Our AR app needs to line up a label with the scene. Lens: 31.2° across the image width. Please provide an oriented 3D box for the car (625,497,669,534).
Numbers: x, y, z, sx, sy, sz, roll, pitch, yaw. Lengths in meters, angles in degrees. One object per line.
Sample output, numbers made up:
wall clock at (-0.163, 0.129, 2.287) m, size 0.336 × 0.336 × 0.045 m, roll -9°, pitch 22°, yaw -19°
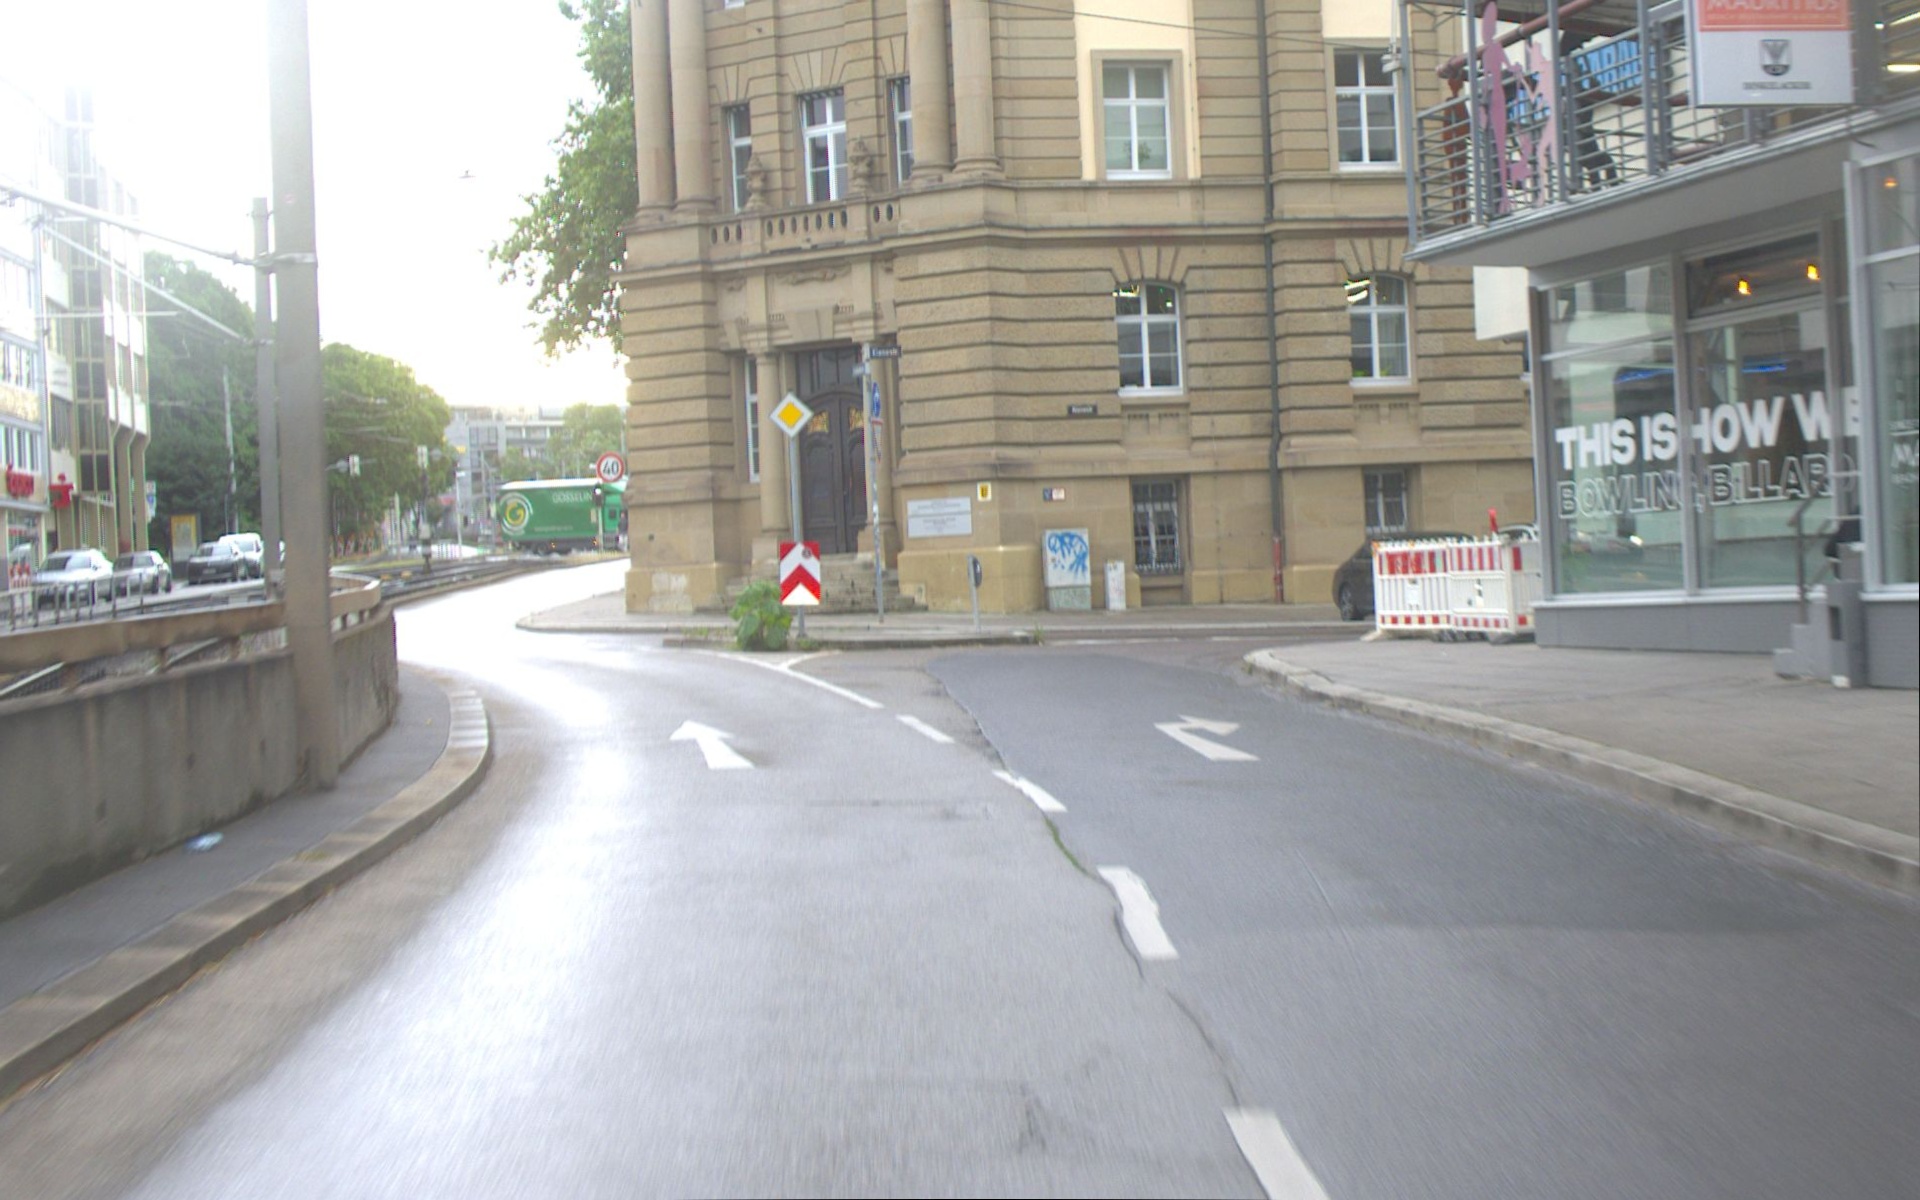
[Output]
car at (-14.473, -3.898, 158.998) m, size 1.993 × 1.656 × 4.001 m, roll -2°, pitch 1°, yaw -5°

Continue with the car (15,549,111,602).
car at (-26.268, -0.737, 100.816) m, size 1.993 × 1.451 × 4.312 m, roll -2°, pitch 1°, yaw -5°

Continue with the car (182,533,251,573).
car at (-28.063, -1.791, 129.808) m, size 1.993 × 1.451 × 4.312 m, roll -2°, pitch 1°, yaw -5°

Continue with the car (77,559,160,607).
car at (-27.668, -0.567, 113.196) m, size 1.993 × 1.451 × 4.312 m, roll -2°, pitch 1°, yaw -5°

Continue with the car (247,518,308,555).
car at (-28.266, -2.644, 142.398) m, size 1.993 × 1.451 × 4.312 m, roll -2°, pitch 1°, yaw -5°

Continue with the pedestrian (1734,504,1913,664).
pedestrian at (6.302, -0.127, 25.142) m, size 0.752 × 1.119 × 1.247 m, roll -2°, pitch 1°, yaw -14°

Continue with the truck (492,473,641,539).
truck at (-20.510, -4.902, 179.088) m, size 7.914 × 3.375 × 1.997 m, roll 1°, pitch 1°, yaw 27°
